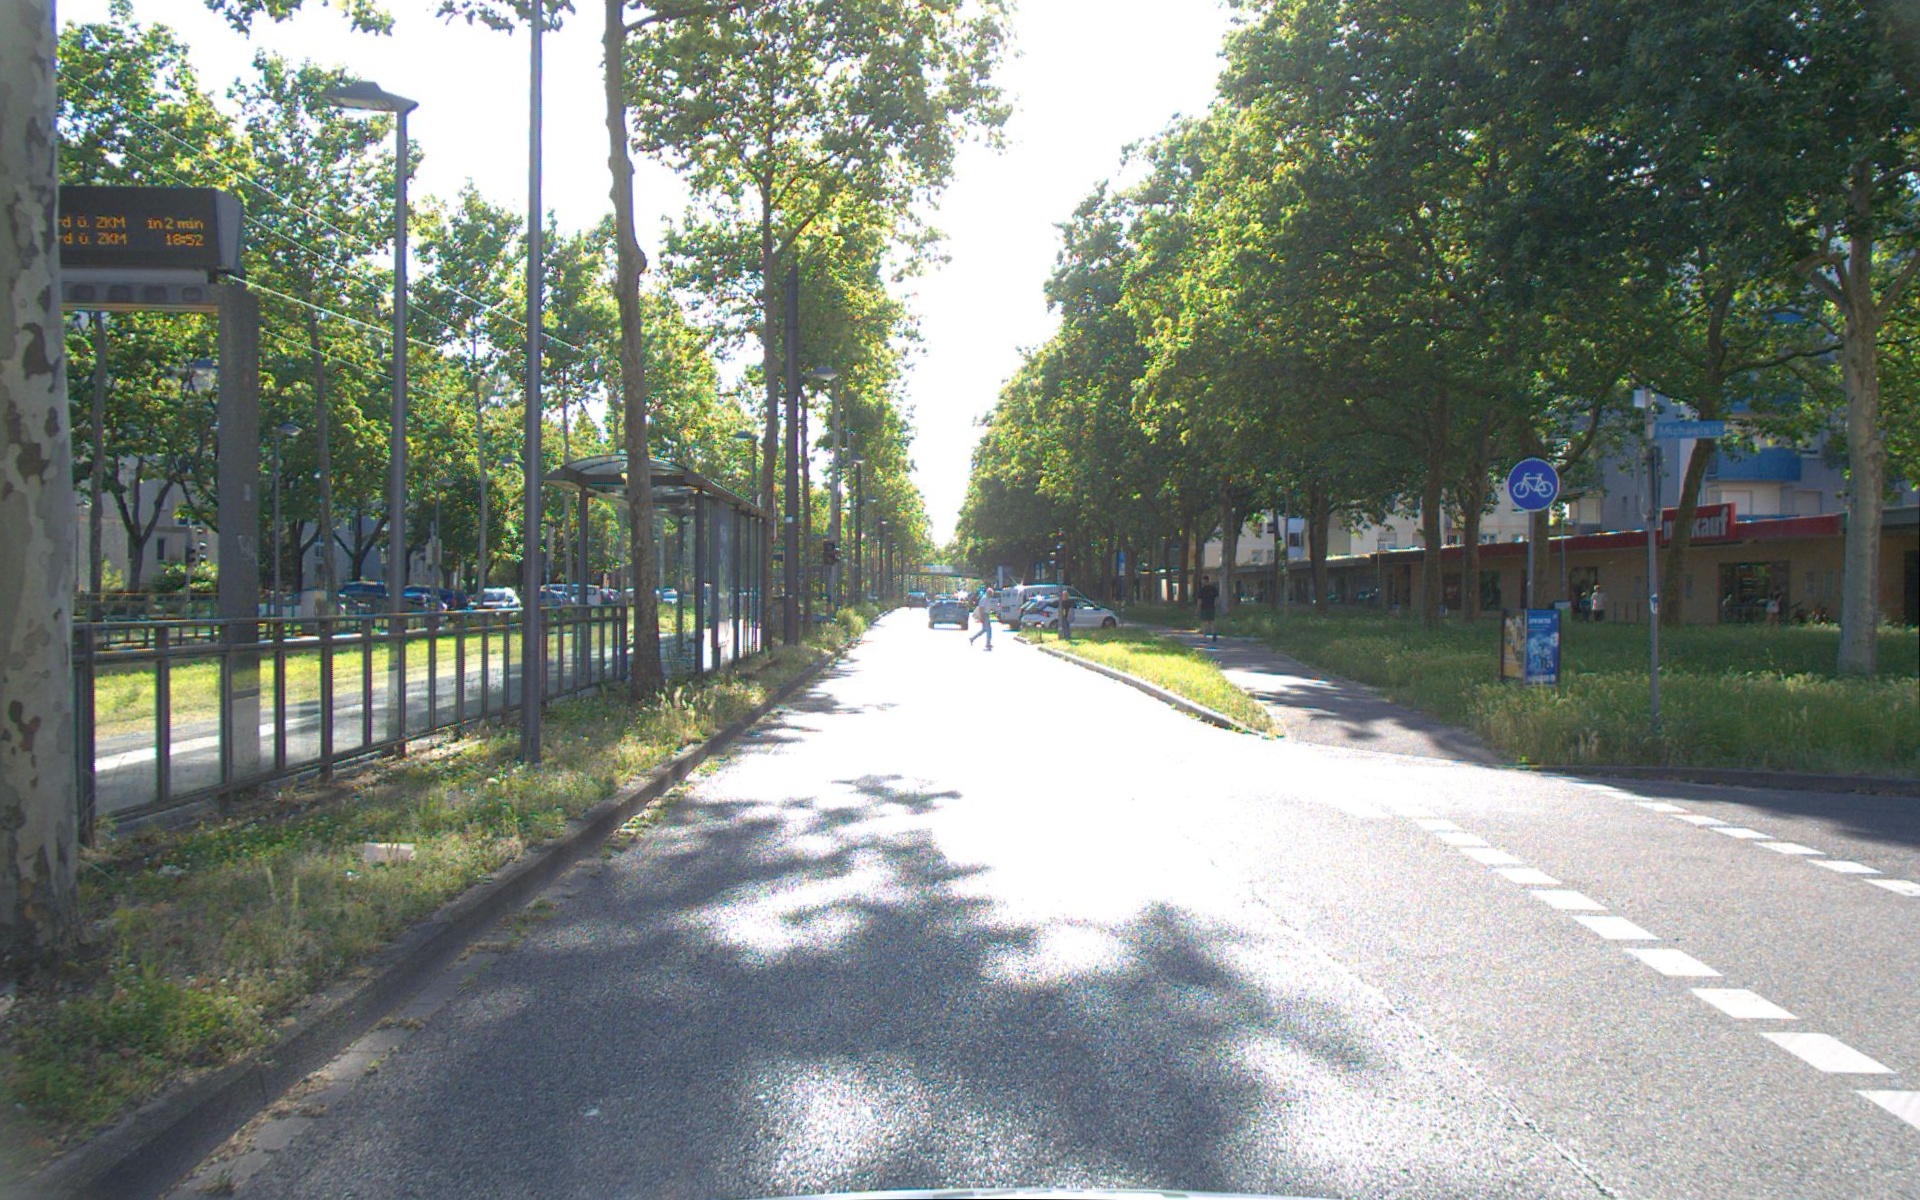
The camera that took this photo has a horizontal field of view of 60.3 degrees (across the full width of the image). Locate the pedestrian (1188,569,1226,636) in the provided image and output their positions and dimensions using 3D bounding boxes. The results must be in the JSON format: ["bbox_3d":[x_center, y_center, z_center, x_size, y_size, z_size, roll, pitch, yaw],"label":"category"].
[{"bbox_3d":[7.199,0.068,48.155,0.783,1.918,0.926,1,0,32],"label":"pedestrian"}]

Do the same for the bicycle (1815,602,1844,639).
[{"bbox_3d":[28.872,0.671,54.938,0.585,1.200,1.851,1,0,20],"label":"bicycle"}]

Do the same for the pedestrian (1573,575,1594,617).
[{"bbox_3d":[25.637,-0.171,68.014,0.485,1.730,0.715,0,1,-7],"label":"pedestrian"}]

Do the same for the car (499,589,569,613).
[{"bbox_3d":[-26.786,0.094,104.140,4.052,1.457,1.554,0,-1,-44],"label":"car"}]

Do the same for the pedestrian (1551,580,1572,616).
[{"bbox_3d":[24.741,-0.081,68.044,0.521,1.455,0.715,0,1,-7],"label":"pedestrian"}]

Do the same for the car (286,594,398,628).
[{"bbox_3d":[-24.460,0.423,65.553,3.795,1.268,1.811,0,0,-44],"label":"car"}]

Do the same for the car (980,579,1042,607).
[{"bbox_3d":[3.318,-0.459,106.990,3.995,1.735,1.733,-1,0,-43],"label":"car"}]

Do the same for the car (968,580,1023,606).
[{"bbox_3d":[2.612,-0.487,120.692,4.050,1.842,1.626,-1,0,-42],"label":"car"}]

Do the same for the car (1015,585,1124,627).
[{"bbox_3d":[4.269,0.225,64.139,3.949,1.495,1.741,-2,1,-33],"label":"car"}]

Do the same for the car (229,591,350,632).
[{"bbox_3d":[-24.898,0.412,61.463,1.806,1.460,3.807,0,0,39],"label":"car"}]

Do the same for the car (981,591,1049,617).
[{"bbox_3d":[3.069,0.240,92.349,1.561,1.397,3.911,-1,0,45],"label":"car"}]

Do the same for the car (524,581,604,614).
[{"bbox_3d":[-25.850,-0.147,108.133,4.753,2.041,1.865,0,1,-40],"label":"car"}]

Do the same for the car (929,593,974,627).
[{"bbox_3d":[-0.411,0.429,74.499,1.883,1.436,3.999,1,0,-2],"label":"car"}]

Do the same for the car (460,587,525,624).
[{"bbox_3d":[-20.267,0.210,71.885,1.678,1.573,3.933,0,0,1],"label":"car"}]

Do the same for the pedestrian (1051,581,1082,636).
[{"bbox_3d":[3.363,0.274,52.358,0.704,1.736,0.646,-1,0,-36],"label":"pedestrian"}]

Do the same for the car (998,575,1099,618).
[{"bbox_3d":[4.004,-0.174,74.234,4.630,1.885,1.803,-1,0,-42],"label":"car"}]

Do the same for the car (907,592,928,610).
[{"bbox_3d":[-3.789,0.060,146.483,1.812,1.562,3.865,1,0,-1],"label":"car"}]

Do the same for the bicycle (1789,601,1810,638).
[{"bbox_3d":[28.651,0.661,56.459,0.585,1.200,1.849,1,0,26],"label":"bicycle"}]

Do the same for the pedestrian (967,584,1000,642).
[{"bbox_3d":[0.723,0.386,49.863,0.824,1.752,0.831,0,0,13],"label":"pedestrian"}]

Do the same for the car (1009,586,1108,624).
[{"bbox_3d":[4.223,0.209,70.741,3.949,1.454,1.779,-2,1,-33],"label":"car"}]

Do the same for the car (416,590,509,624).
[{"bbox_3d":[-24.122,0.321,80.325,1.622,1.501,4.061,6,4,41],"label":"car"}]

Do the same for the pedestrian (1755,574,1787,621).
[{"bbox_3d":[27.668,-0.088,56.433,0.658,1.612,0.715,0,1,-7],"label":"pedestrian"}]
